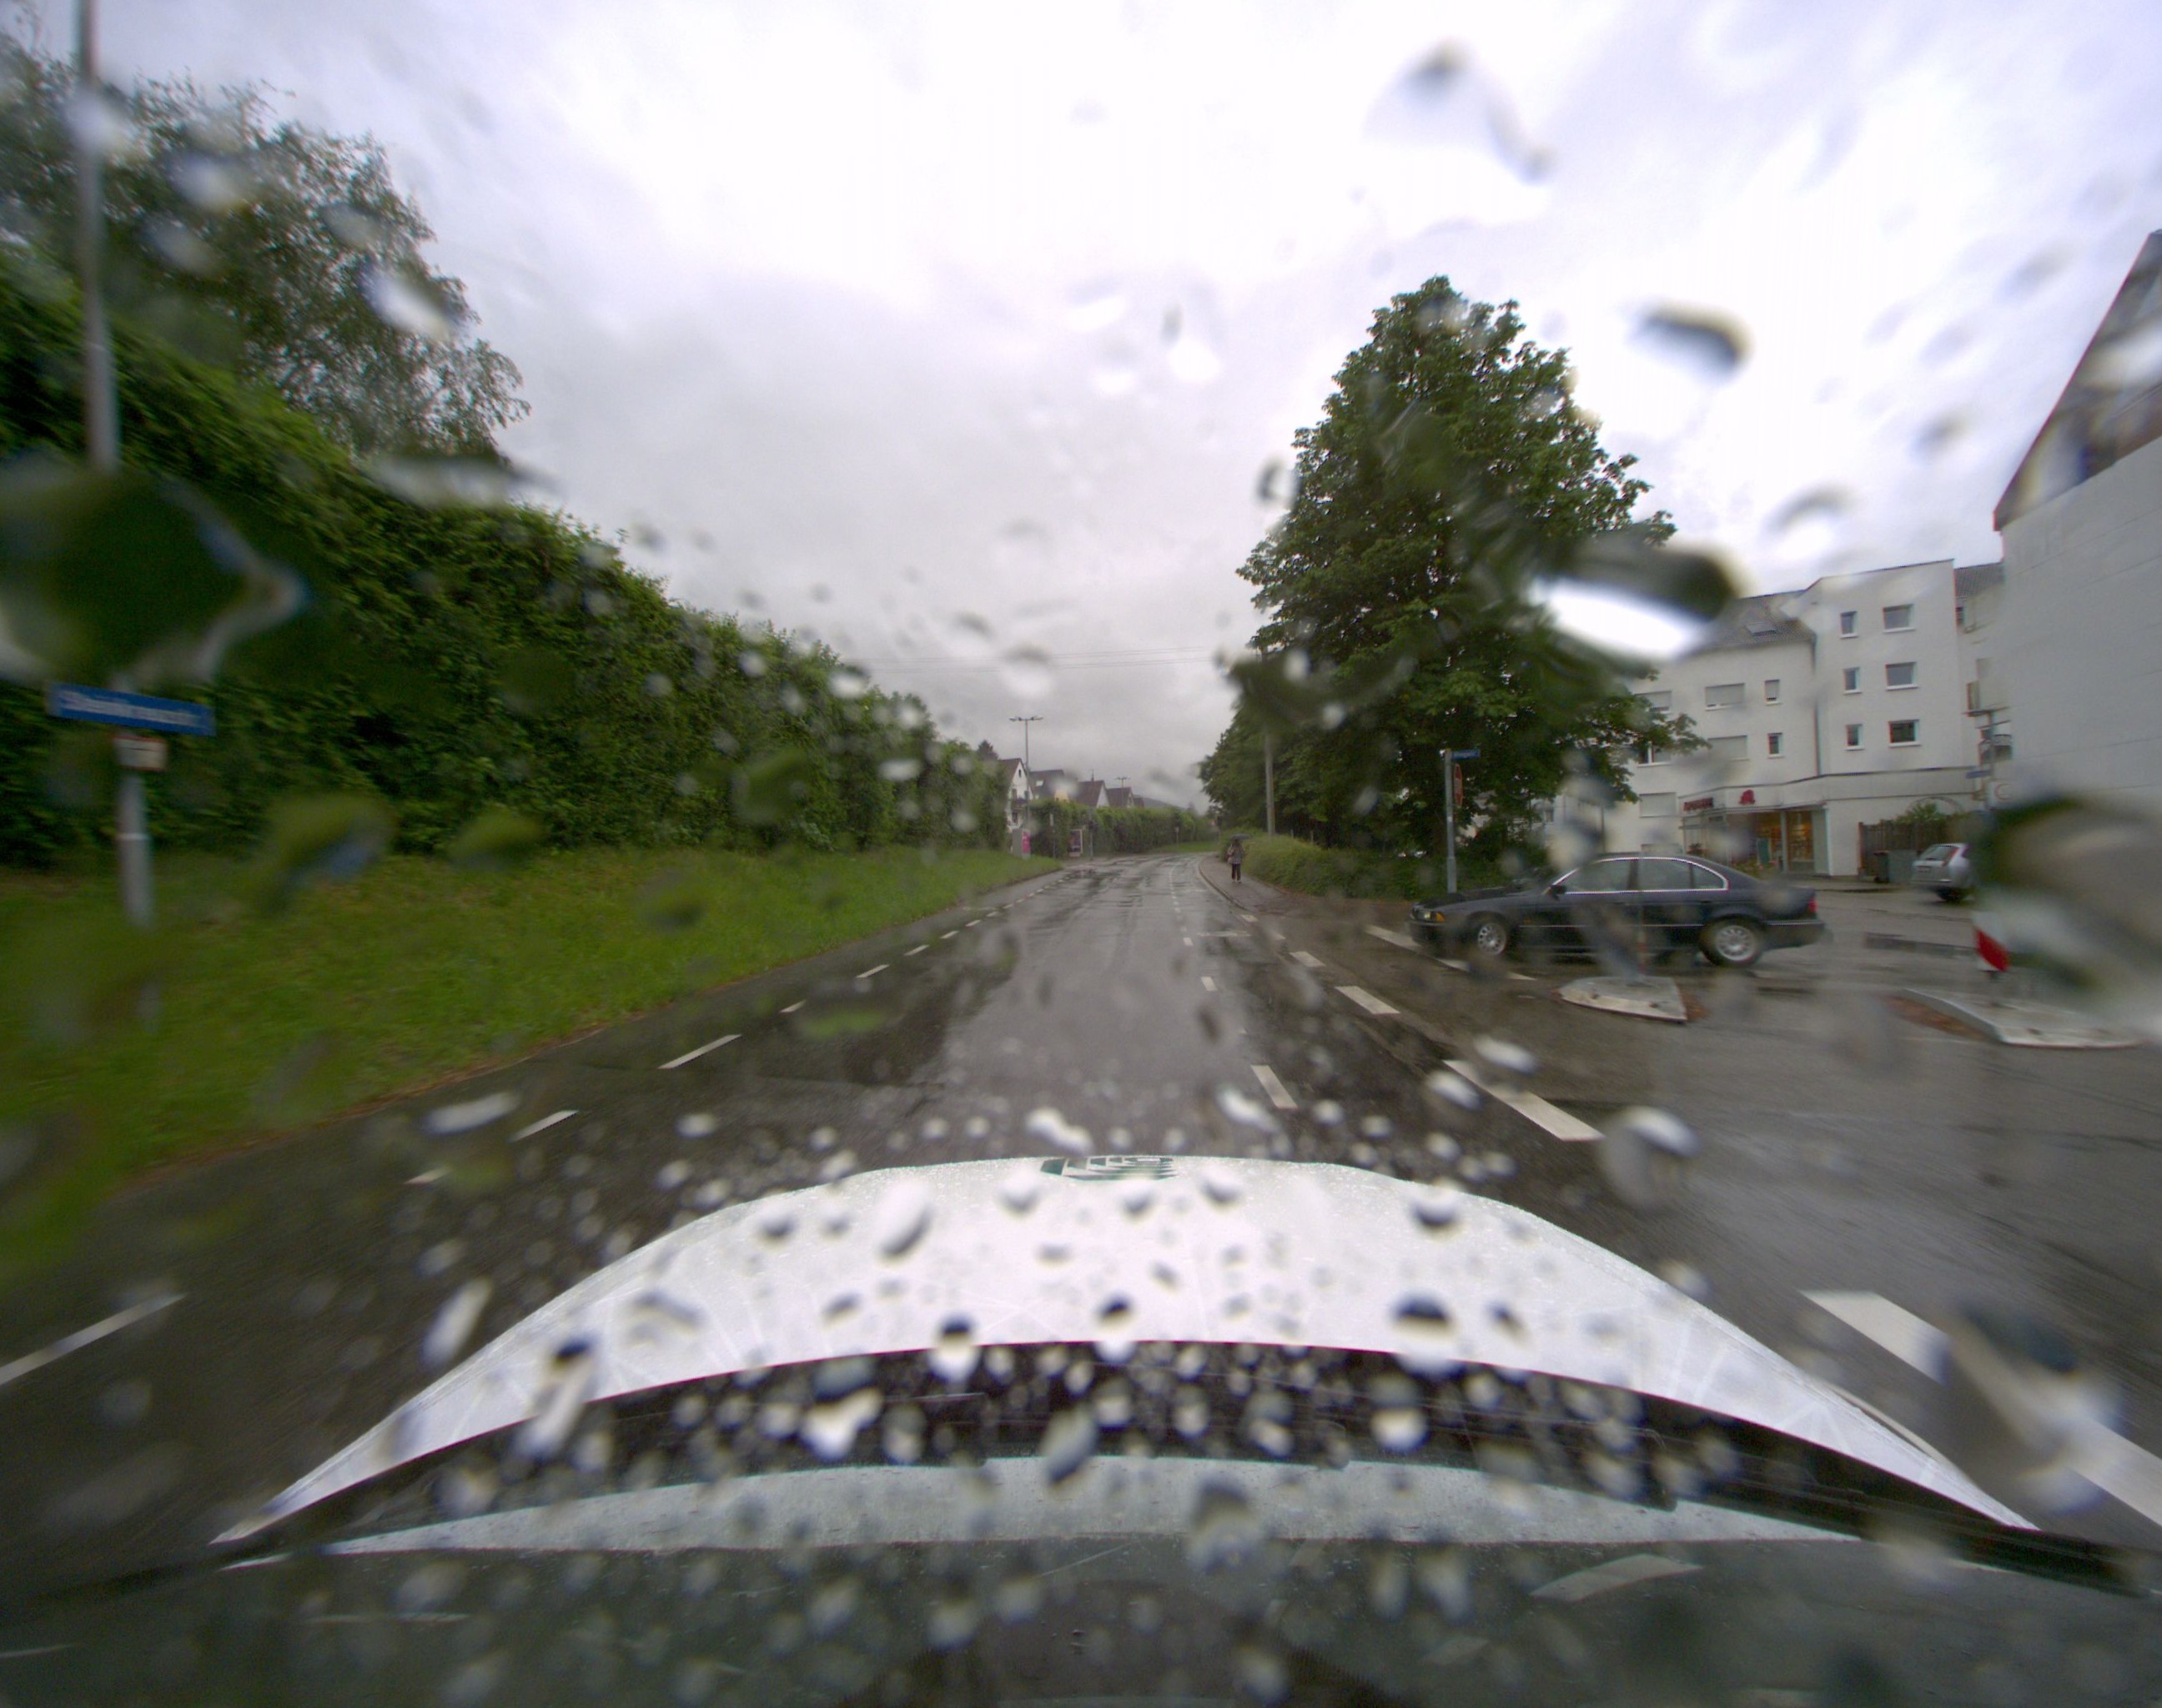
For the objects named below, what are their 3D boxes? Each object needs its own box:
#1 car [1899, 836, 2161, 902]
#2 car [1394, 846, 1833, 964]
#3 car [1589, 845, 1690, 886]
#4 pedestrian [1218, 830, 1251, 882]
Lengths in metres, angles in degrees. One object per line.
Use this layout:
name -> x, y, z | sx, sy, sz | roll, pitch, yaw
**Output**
car -> 23.034, 0.354, 19.834 | 3.953, 1.461, 1.872 | -1, 1, 20
car -> 6.810, 0.612, 10.999 | 4.569, 1.387, 1.953 | -1, 0, 12
car -> 21.548, 0.403, 31.569 | 1.680, 1.438, 3.617 | -1, 1, 5
pedestrian -> 5.170, 0.061, 27.431 | 0.915, 1.675, 1.059 | -3, 1, 5
